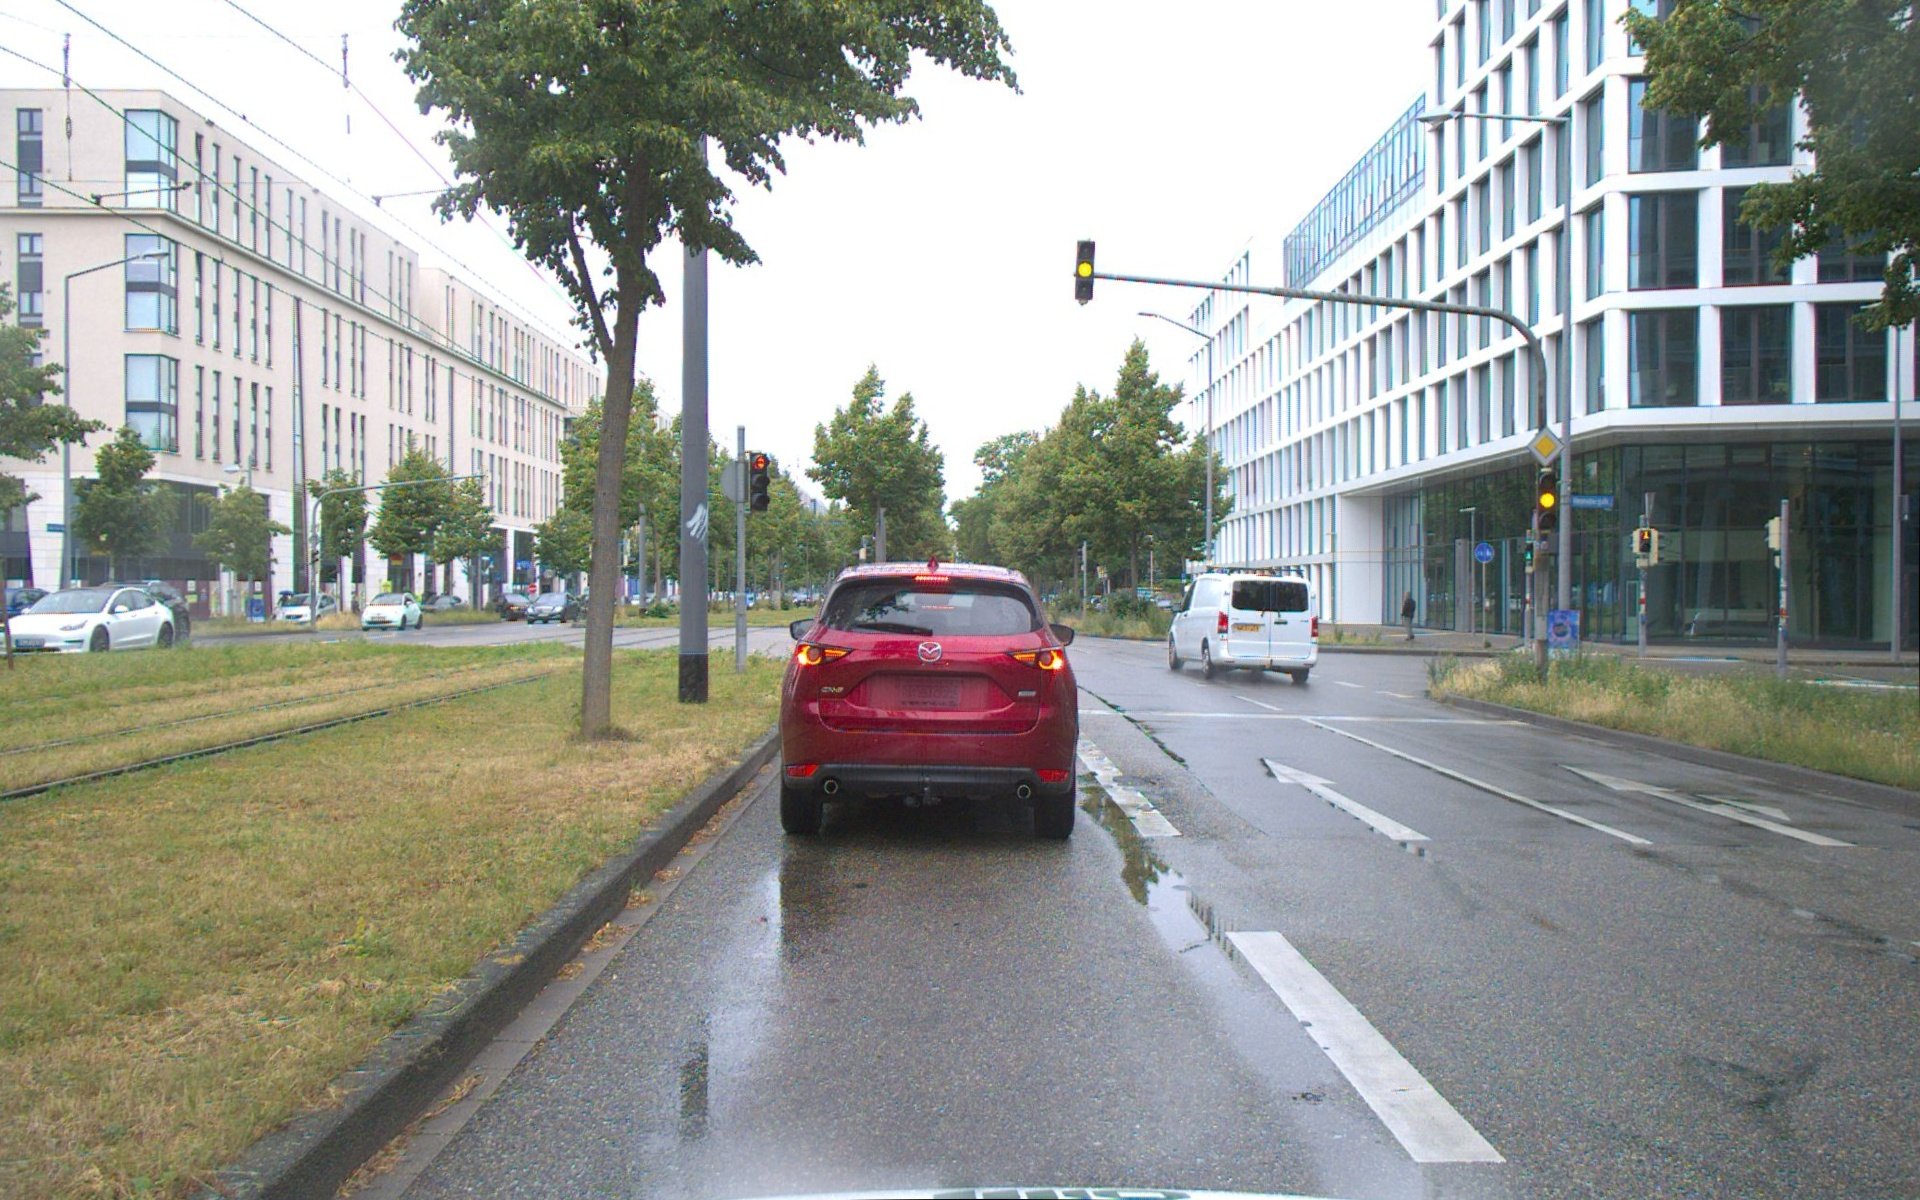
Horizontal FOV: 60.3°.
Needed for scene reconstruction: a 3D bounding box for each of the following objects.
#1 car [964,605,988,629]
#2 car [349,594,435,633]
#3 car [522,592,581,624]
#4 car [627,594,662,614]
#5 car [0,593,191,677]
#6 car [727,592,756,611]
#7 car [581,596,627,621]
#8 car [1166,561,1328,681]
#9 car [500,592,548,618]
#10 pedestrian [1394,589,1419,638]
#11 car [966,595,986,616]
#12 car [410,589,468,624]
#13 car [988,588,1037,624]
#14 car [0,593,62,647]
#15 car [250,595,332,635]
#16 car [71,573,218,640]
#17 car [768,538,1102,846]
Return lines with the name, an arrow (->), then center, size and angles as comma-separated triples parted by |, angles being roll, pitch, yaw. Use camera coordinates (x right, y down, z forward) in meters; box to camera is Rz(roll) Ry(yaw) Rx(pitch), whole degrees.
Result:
car -> 1.326, 1.445, 141.648 | 1.953, 2.049, 4.000 | 0, 0, -1
car -> -22.768, 0.518, 66.464 | 1.953, 1.510, 4.445 | 1, 0, -1
car -> -20.139, 0.384, 81.757 | 1.953, 1.510, 4.444 | 0, 0, -2
car -> -24.703, 0.318, 129.660 | 1.953, 1.510, 4.445 | 0, 0, 0
car -> -17.380, 0.646, 33.118 | 1.953, 1.510, 4.444 | 1, 0, -1
car -> -18.025, 0.133, 136.660 | 1.953, 1.510, 4.444 | 0, 0, -2
car -> -22.744, 0.552, 105.865 | 1.953, 1.510, 4.445 | 1, 1, 0
car -> 5.218, 0.365, 30.778 | 1.928, 2.014, 5.089 | 1, 0, -2
car -> -26.197, 0.263, 99.437 | 1.954, 1.510, 4.442 | 0, 0, -4
pedestrian -> 16.089, 0.471, 59.580 | 0.664, 1.737, 0.783 | 1, 0, -3
car -> 1.566, 0.543, 164.716 | 1.953, 2.049, 4.000 | 0, 0, -1
car -> -28.595, 0.337, 90.905 | 1.953, 1.870, 3.999 | 1, 0, -1
car -> 2.240, 0.253, 71.673 | 1.709, 1.490, 3.778 | 1, 0, -5
car -> -28.549, 0.556, 48.798 | 1.954, 1.510, 4.441 | 1, 0, -5
car -> -28.435, 0.613, 70.415 | 1.953, 1.646, 3.998 | 0, 0, -2
car -> -21.166, 0.148, 43.098 | 1.953, 1.646, 3.998 | 0, 0, -2
car -> -0.175, 0.501, 11.263 | 1.860, 1.706, 3.999 | 1, 0, -1
